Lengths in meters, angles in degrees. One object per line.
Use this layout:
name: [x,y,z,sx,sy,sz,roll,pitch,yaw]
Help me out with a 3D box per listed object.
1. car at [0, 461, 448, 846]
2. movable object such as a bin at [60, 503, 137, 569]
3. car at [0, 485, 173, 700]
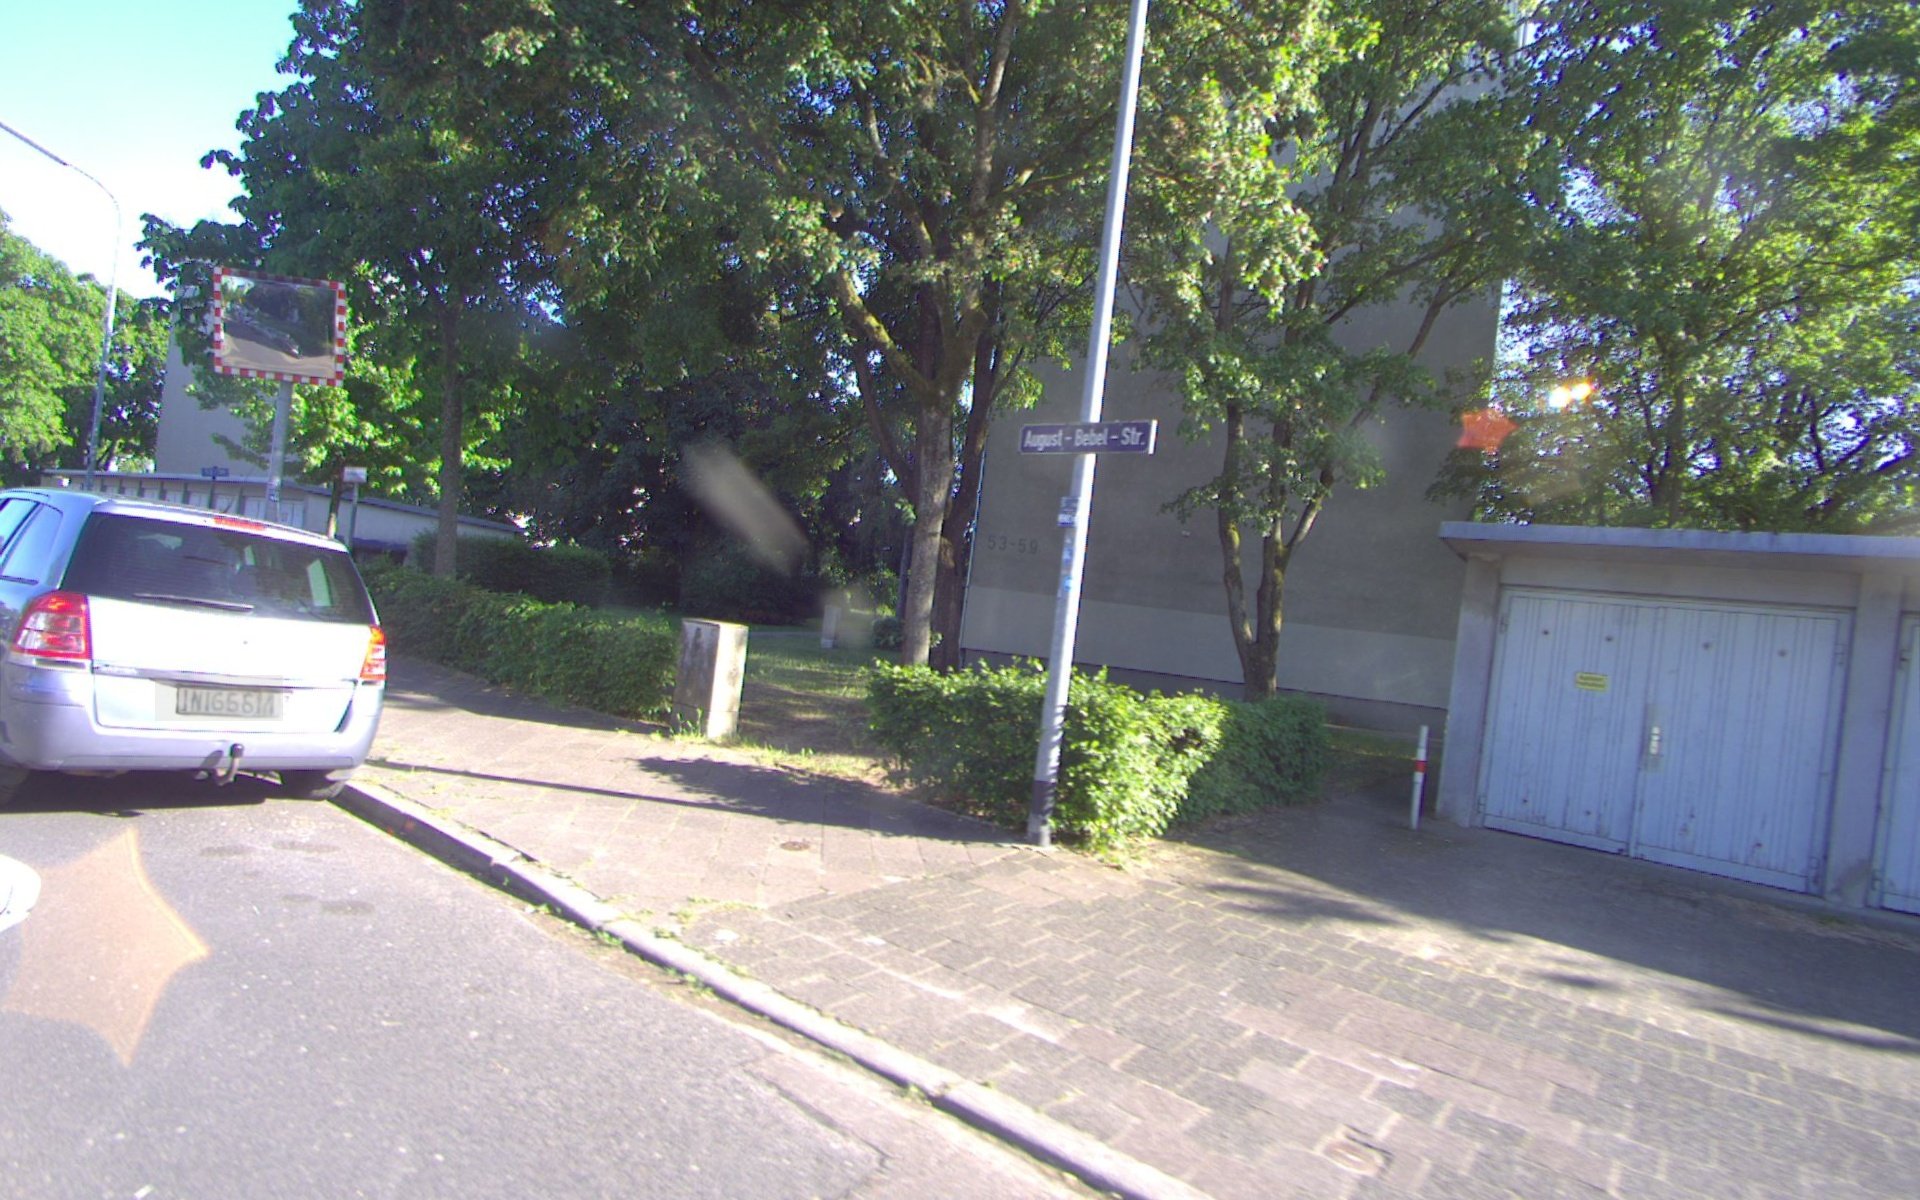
car: [-5.222,0.165,6.201,4.305,1.628,1.770,6,-3,36]
movable object such as a bin: [-20.170,-1.485,23.572,1.245,1.363,1.041,7,-2,-41]
car: [-8.939,-0.228,9.054,3.962,1.611,1.806,6,-3,37]
